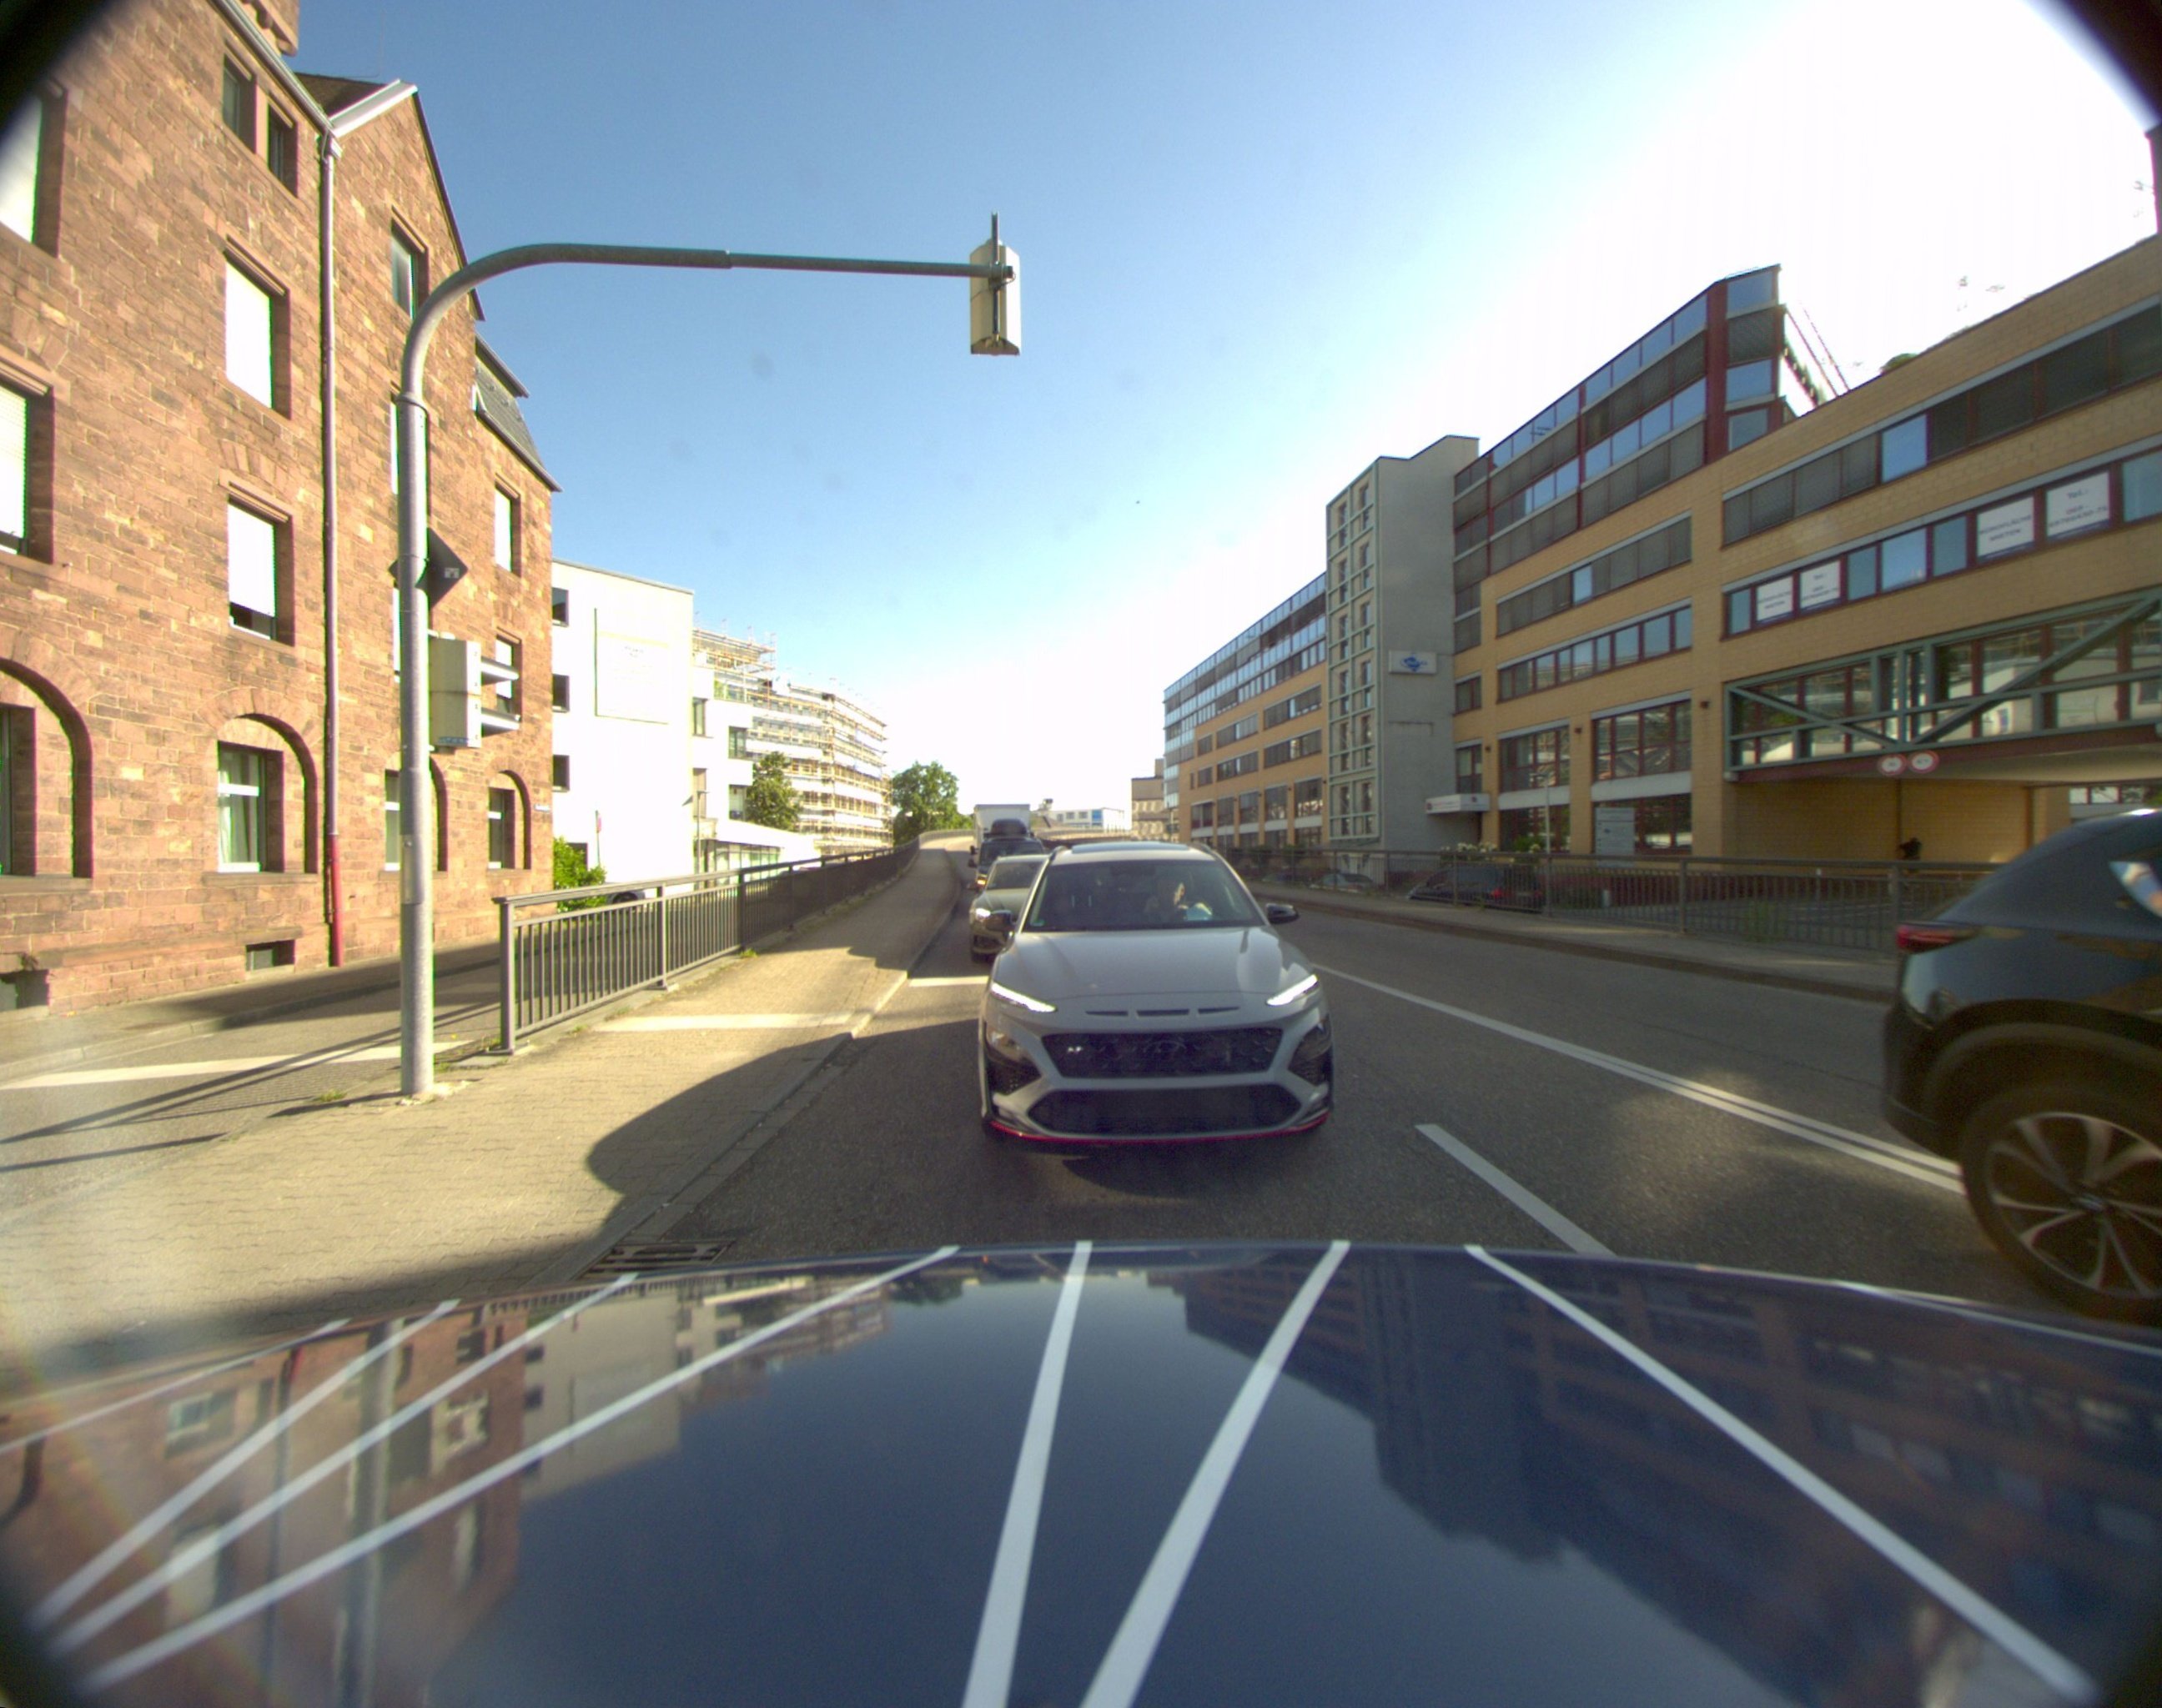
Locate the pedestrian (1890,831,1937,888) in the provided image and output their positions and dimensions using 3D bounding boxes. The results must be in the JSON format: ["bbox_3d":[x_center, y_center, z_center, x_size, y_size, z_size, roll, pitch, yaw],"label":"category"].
[{"bbox_3d":[27.743,0.170,25.328,0.747,1.840,0.705,-2,0,-6],"label":"pedestrian"}]

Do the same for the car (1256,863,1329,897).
[{"bbox_3d":[10.128,1.213,36.744,1.886,1.554,3.997,0,0,-9],"label":"car"}]

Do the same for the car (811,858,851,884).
[{"bbox_3d":[-16.956,1.153,51.698,2.055,1.676,4.089,-1,-1,-12],"label":"car"}]

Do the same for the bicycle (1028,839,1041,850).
[{"bbox_3d":[-5.176,-1.037,84.964,1.083,1.223,2.781,-2,1,-10],"label":"bicycle"}]

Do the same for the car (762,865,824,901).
[{"bbox_3d":[-13.520,1.321,35.931,2.054,1.522,4.089,-1,-1,-11],"label":"car"}]

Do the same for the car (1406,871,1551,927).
[{"bbox_3d":[12.225,1.321,23.708,1.639,1.514,4.156,0,0,-14],"label":"car"}]

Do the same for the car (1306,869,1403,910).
[{"bbox_3d":[11.179,1.400,31.423,1.881,1.514,4.157,0,0,-12],"label":"car"}]

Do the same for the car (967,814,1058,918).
[{"bbox_3d":[-1.731,0.279,18.883,1.951,2.248,4.783,-1,0,-6],"label":"car"}]

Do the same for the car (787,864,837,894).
[{"bbox_3d":[-14.709,1.356,41.770,2.055,1.522,4.089,-1,-1,-12],"label":"car"}]

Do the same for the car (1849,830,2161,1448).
[{"bbox_3d":[3.921,0.764,0.834,1.879,1.699,4.196,-1,0,-1],"label":"car"}]

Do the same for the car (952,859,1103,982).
[{"bbox_3d":[-0.853,0.848,11.867,1.880,1.462,4.633,0,1,-5],"label":"car"}]

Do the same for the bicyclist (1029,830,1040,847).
[{"bbox_3d":[-5.205,-1.743,84.931,1.083,1.861,1.083,-2,1,-10],"label":"bicyclist"}]

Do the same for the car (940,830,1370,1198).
[{"bbox_3d":[0.379,0.713,5.440,1.879,1.612,4.197,0,0,2],"label":"car"}]

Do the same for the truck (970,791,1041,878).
[{"bbox_3d":[-3.157,-0.668,30.802,2.504,3.110,6.955,-1,0,-8],"label":"truck"}]

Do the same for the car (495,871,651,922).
[{"bbox_3d":[-17.267,1.375,25.939,4.101,1.522,1.914,-1,-1,-44],"label":"car"}]
